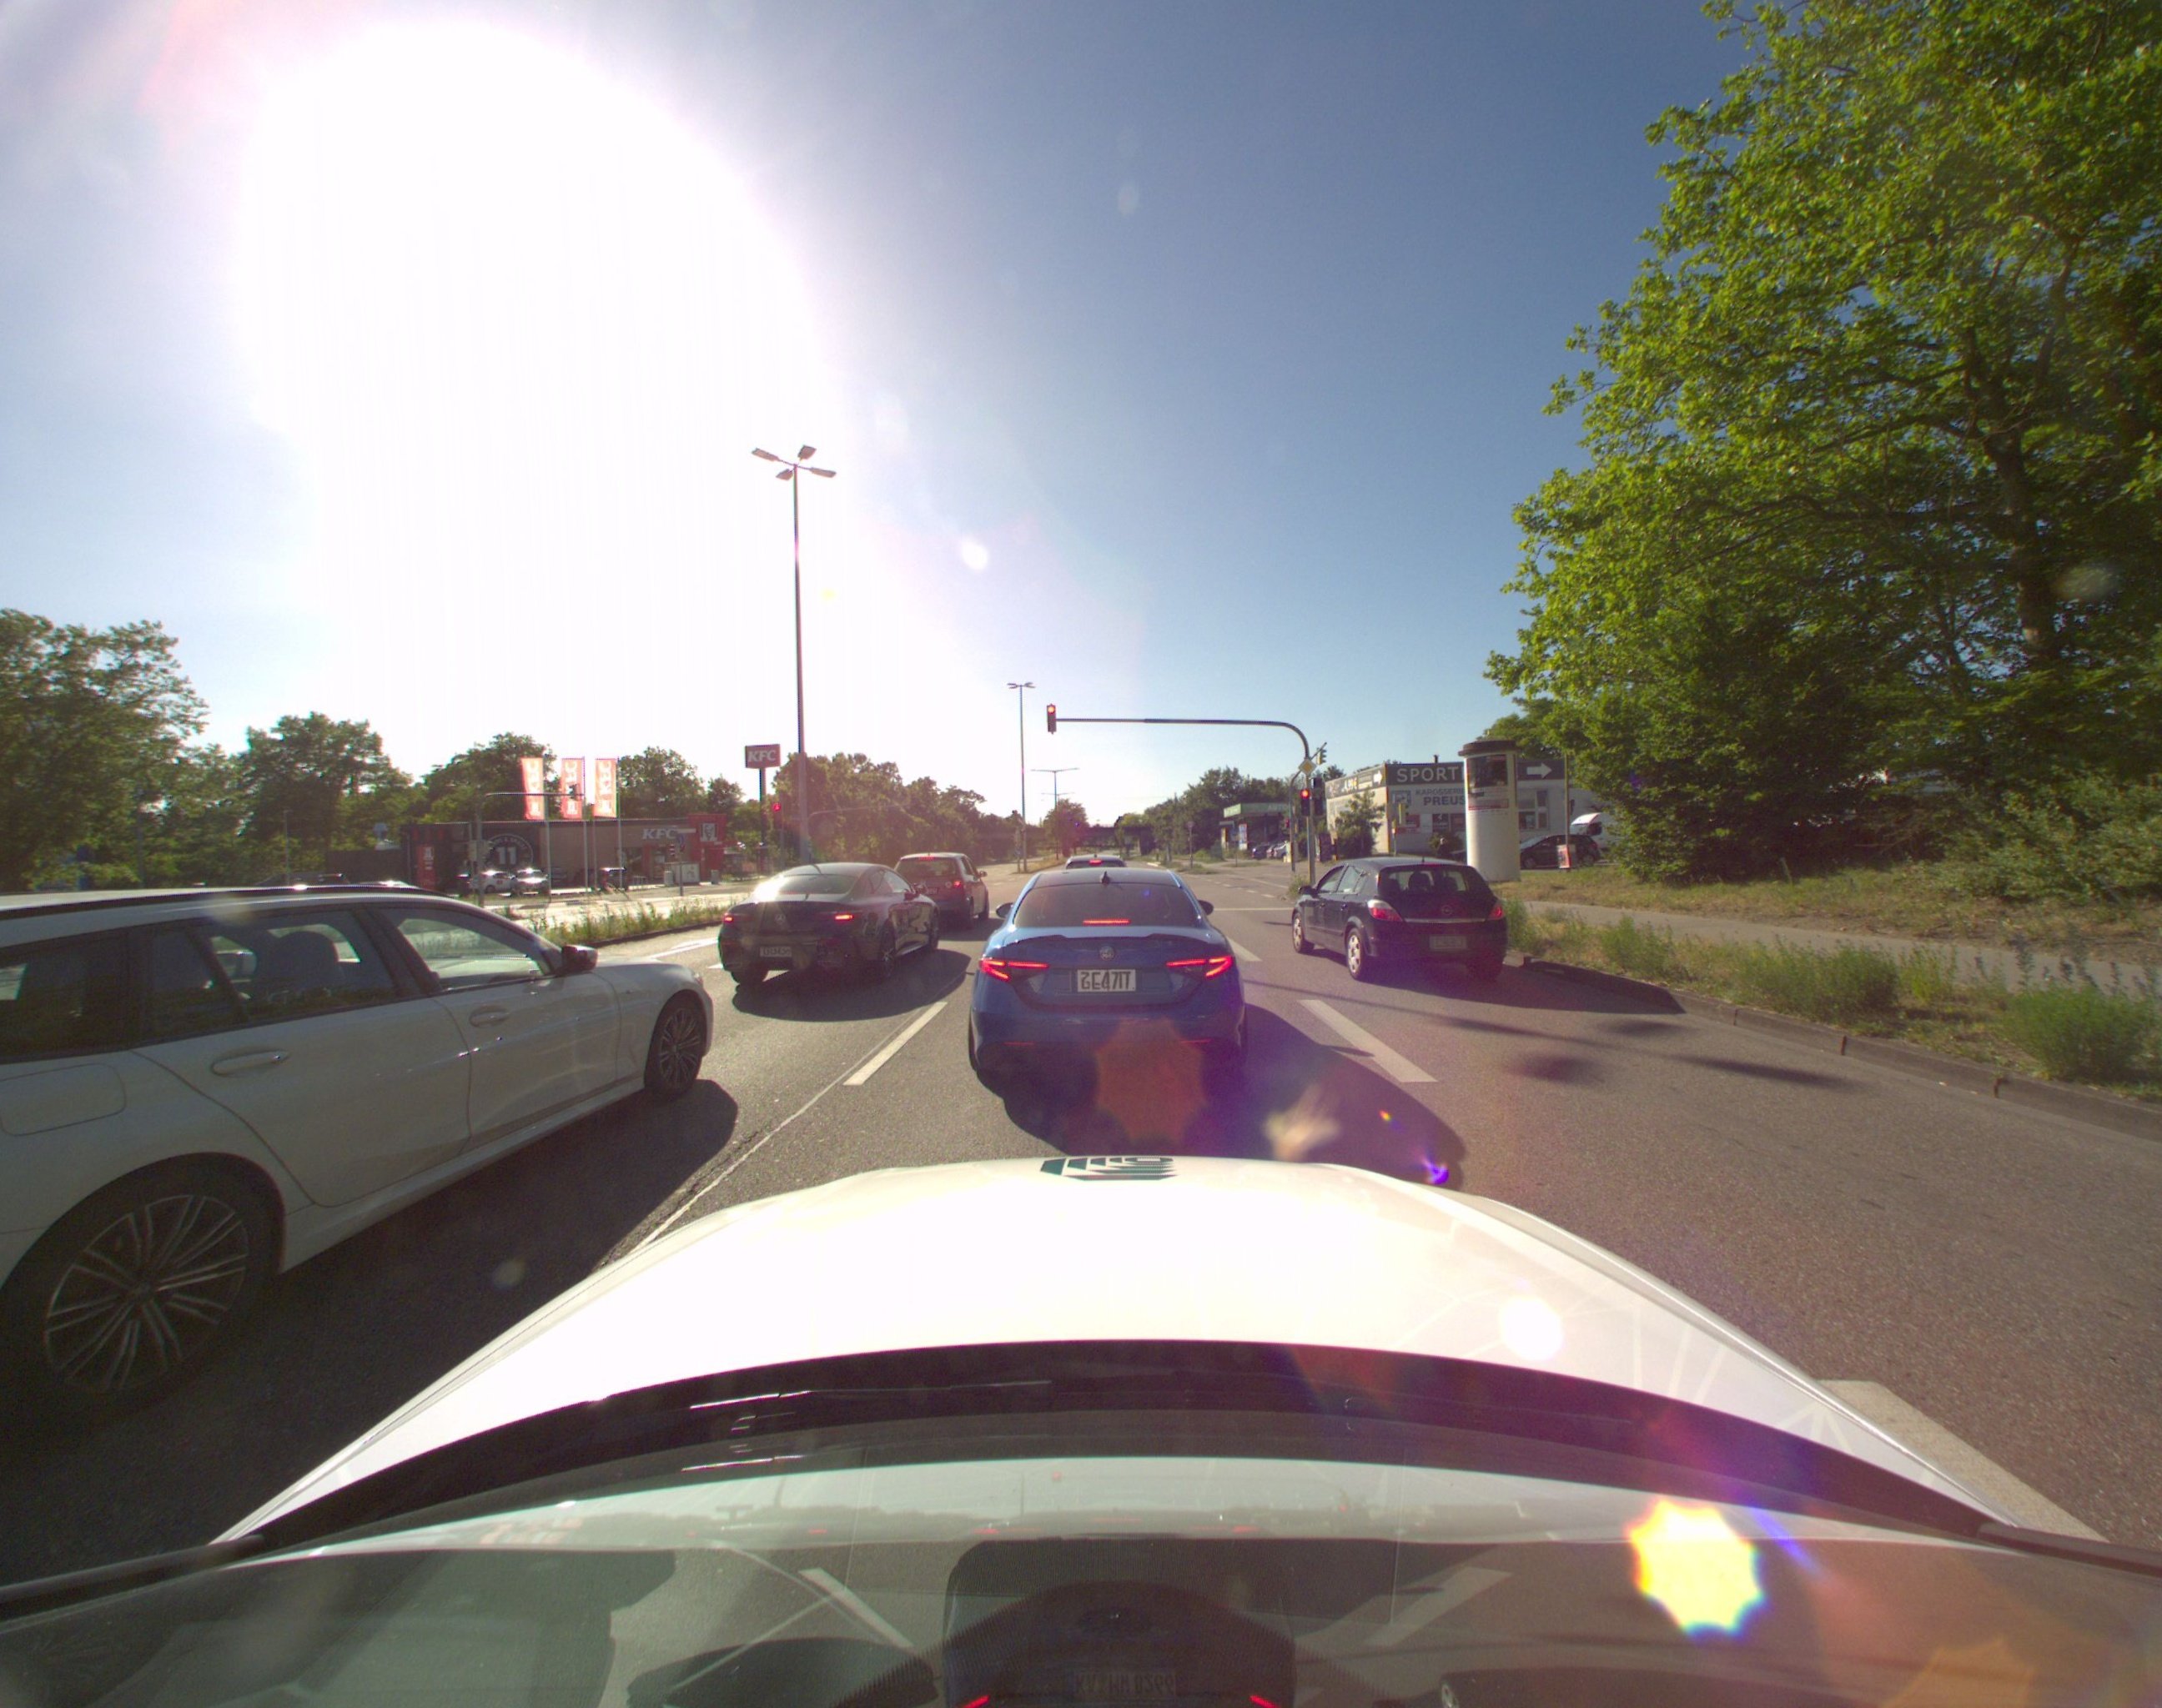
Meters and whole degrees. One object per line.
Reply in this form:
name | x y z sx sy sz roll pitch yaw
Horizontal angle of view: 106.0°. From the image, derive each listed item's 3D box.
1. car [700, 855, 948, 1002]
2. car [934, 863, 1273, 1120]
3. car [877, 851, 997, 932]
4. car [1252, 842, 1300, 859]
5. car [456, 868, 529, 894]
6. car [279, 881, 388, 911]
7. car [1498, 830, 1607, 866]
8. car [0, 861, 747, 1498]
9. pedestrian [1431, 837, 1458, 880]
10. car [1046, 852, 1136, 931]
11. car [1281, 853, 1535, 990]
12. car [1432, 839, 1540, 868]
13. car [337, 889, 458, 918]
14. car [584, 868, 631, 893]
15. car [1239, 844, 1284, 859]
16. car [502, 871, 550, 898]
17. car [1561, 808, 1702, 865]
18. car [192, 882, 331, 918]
car | -3.136 0.803 11.042 1.806 1.551 4.544 -1 0 1
car | 0.233 0.789 6.440 1.901 1.423 3.722 0 -1 3
car | -2.996 0.740 17.830 1.806 1.551 4.353 0 -1 0
car | 17.850 -0.307 74.656 3.971 1.552 2.001 0 -1 2
car | -42.812 1.927 59.304 1.976 1.813 3.793 -1 -1 22
car | -38.627 2.134 42.136 3.936 1.453 1.938 0 -1 4
car | 22.493 -0.291 38.967 4.291 1.650 1.638 0 -1 1
car | -3.436 0.814 3.627 1.805 1.486 4.599 -1 0 2
pedestrian | 14.209 0.192 31.864 0.814 1.669 0.514 0 -1 1
car | 0.303 0.723 17.258 1.696 1.497 3.722 0 -1 3
car | 4.007 0.717 10.824 1.727 1.442 4.373 0 0 2
car | 21.128 -0.019 42.623 4.803 1.468 1.758 0 -1 0
car | -32.164 2.310 38.427 4.070 1.252 1.871 0 -1 0
car | -33.887 1.860 58.245 1.946 1.740 4.046 0 -1 -45
car | 18.415 -0.241 83.150 3.995 1.552 1.989 0 -1 -16
car | -37.356 2.014 54.775 1.946 1.740 4.046 0 -1 -45
car | 28.490 -0.879 42.325 5.812 2.672 2.001 -3 -1 2
car | -39.076 2.182 38.912 4.608 1.579 1.936 0 -1 0
